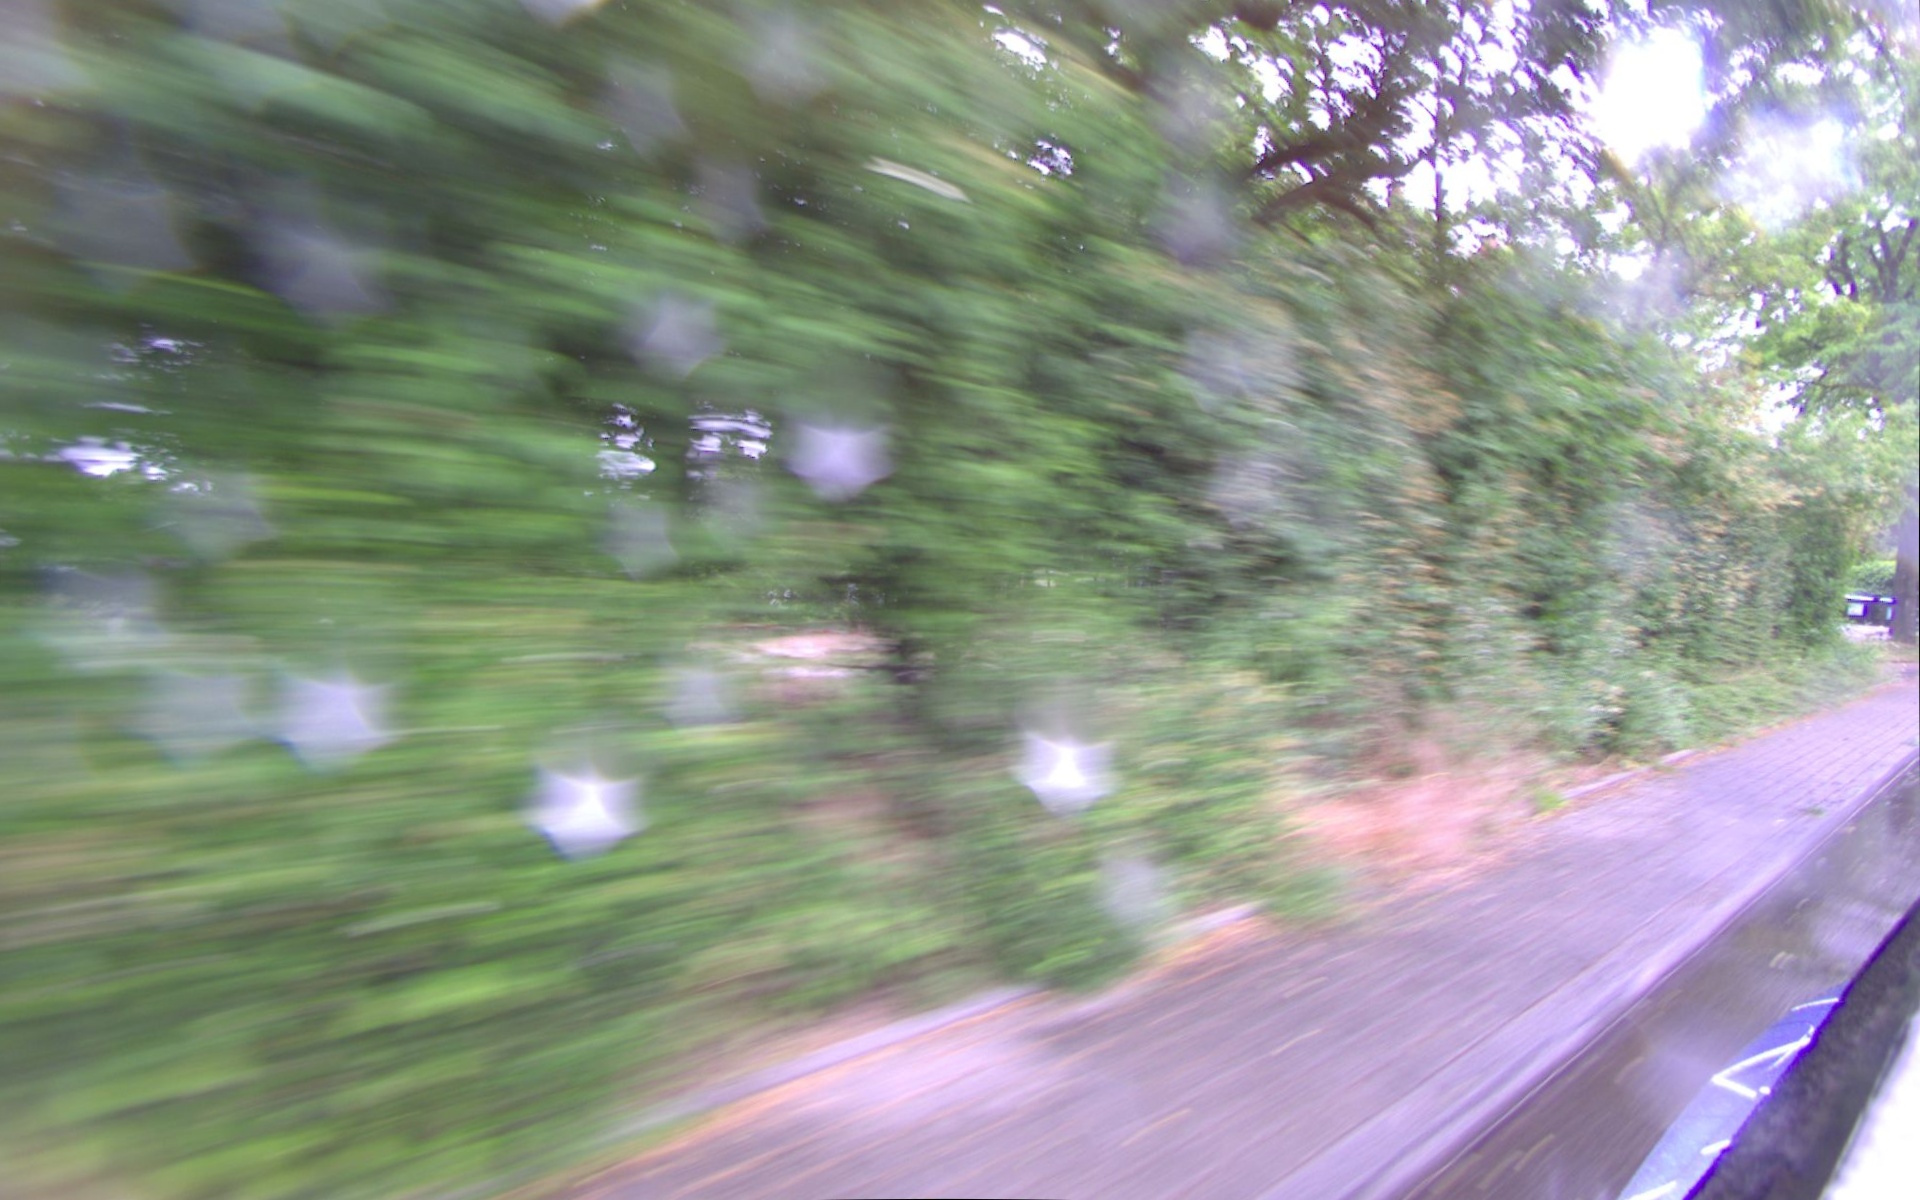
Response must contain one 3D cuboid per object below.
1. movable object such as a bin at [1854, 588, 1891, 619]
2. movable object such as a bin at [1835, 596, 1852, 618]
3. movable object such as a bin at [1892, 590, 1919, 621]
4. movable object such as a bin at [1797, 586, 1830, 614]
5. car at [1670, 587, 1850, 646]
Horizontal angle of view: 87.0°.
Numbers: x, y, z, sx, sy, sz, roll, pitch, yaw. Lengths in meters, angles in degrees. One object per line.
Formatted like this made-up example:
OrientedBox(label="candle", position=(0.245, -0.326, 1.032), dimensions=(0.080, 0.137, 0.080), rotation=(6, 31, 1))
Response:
OrientedBox(label="movable object such as a bin", position=(46.561, 0.161, 51.655), dimensions=(0.782, 1.453, 1.237), rotation=(0, 4, -42))
OrientedBox(label="movable object such as a bin", position=(45.747, 0.382, 52.415), dimensions=(0.521, 1.093, 0.567), rotation=(0, 3, -42))
OrientedBox(label="movable object such as a bin", position=(47.440, 0.276, 50.467), dimensions=(0.782, 1.436, 1.295), rotation=(0, 4, -42))
OrientedBox(label="movable object such as a bin", position=(44.995, 0.010, 53.333), dimensions=(0.782, 1.359, 1.151), rotation=(0, 4, -41))
OrientedBox(label="car", position=(22.092, 0.429, 28.076), dimensions=(3.556, 1.570, 1.617), rotation=(0, 1, 11))
